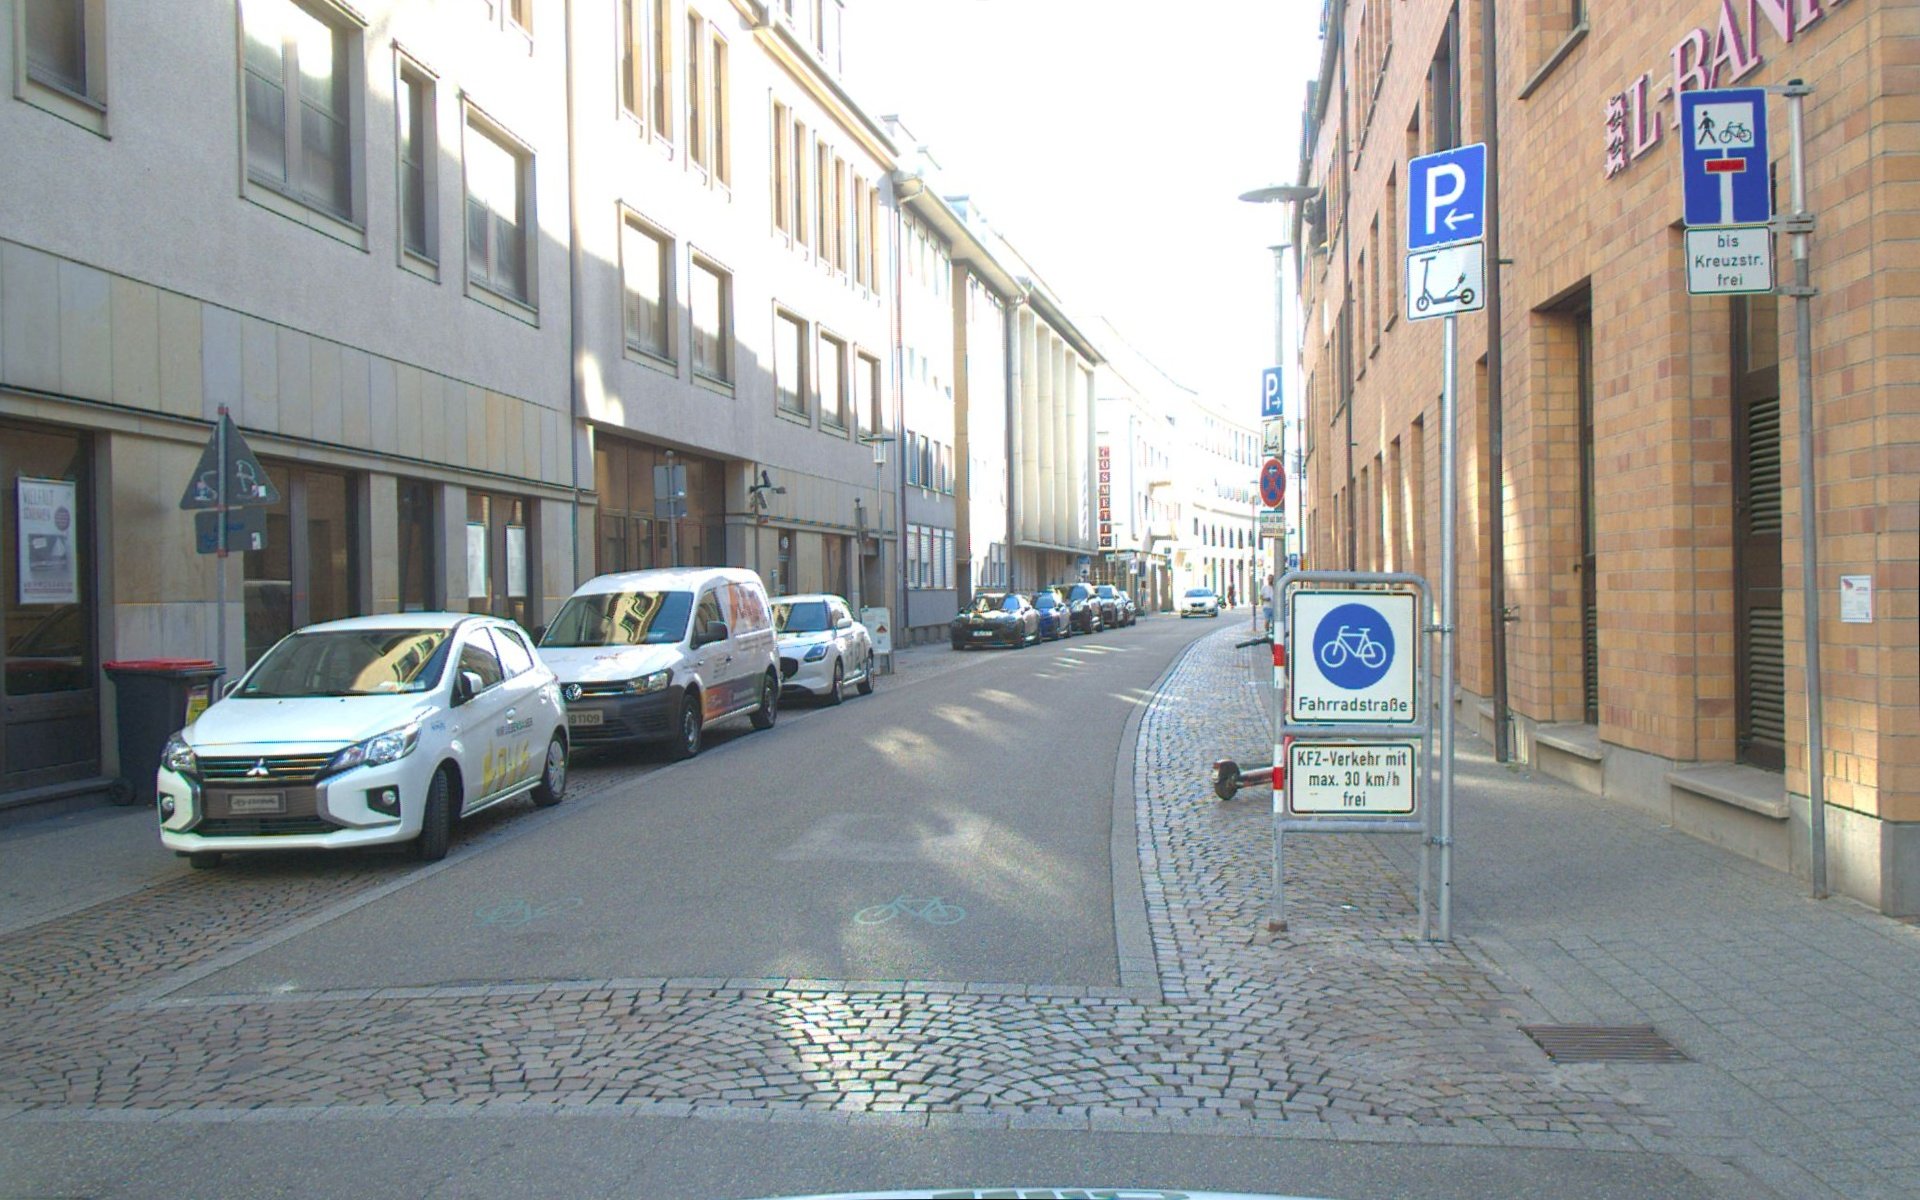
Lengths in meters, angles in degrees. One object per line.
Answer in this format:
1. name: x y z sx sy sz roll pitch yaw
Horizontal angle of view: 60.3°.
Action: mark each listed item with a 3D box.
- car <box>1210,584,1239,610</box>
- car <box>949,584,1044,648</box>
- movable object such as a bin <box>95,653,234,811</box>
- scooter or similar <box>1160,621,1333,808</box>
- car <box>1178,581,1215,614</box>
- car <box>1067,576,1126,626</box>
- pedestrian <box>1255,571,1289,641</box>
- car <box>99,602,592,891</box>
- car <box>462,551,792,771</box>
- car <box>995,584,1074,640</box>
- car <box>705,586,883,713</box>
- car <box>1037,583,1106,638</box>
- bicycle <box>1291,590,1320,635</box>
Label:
1. car: 16.807 -0.223 105.142 1.604 1.544 4.164 -2 0 12
2. car: 1.030 0.390 44.031 1.849 1.556 4.733 -2 0 9
3. movable object such as a bin: -5.960 0.976 12.411 0.721 1.120 0.591 1 0 4
4. scooter or similar: 2.133 0.808 12.216 1.408 1.257 0.530 -1 1 -44
5. car: 11.726 -0.159 81.701 1.678 1.544 4.164 -2 0 9
6. car: 5.266 0.008 63.307 1.849 1.772 4.394 -2 0 9
7. pedestrian: 7.998 0.152 42.451 0.744 1.746 0.822 -3 0 9
8. car: -3.897 0.831 11.243 1.701 1.518 3.801 -3 0 3
9. car: -3.229 0.523 17.156 1.859 1.890 4.737 -3 0 7
10. car: 2.313 0.340 50.270 1.849 1.556 4.344 -2 0 9
11. car: -2.255 0.633 23.440 1.634 1.548 3.779 -3 0 7
12. car: 3.820 0.319 55.963 1.849 1.705 4.558 -2 0 9
13. bicycle: 9.243 0.314 44.265 0.538 1.122 1.984 -4 0 7
